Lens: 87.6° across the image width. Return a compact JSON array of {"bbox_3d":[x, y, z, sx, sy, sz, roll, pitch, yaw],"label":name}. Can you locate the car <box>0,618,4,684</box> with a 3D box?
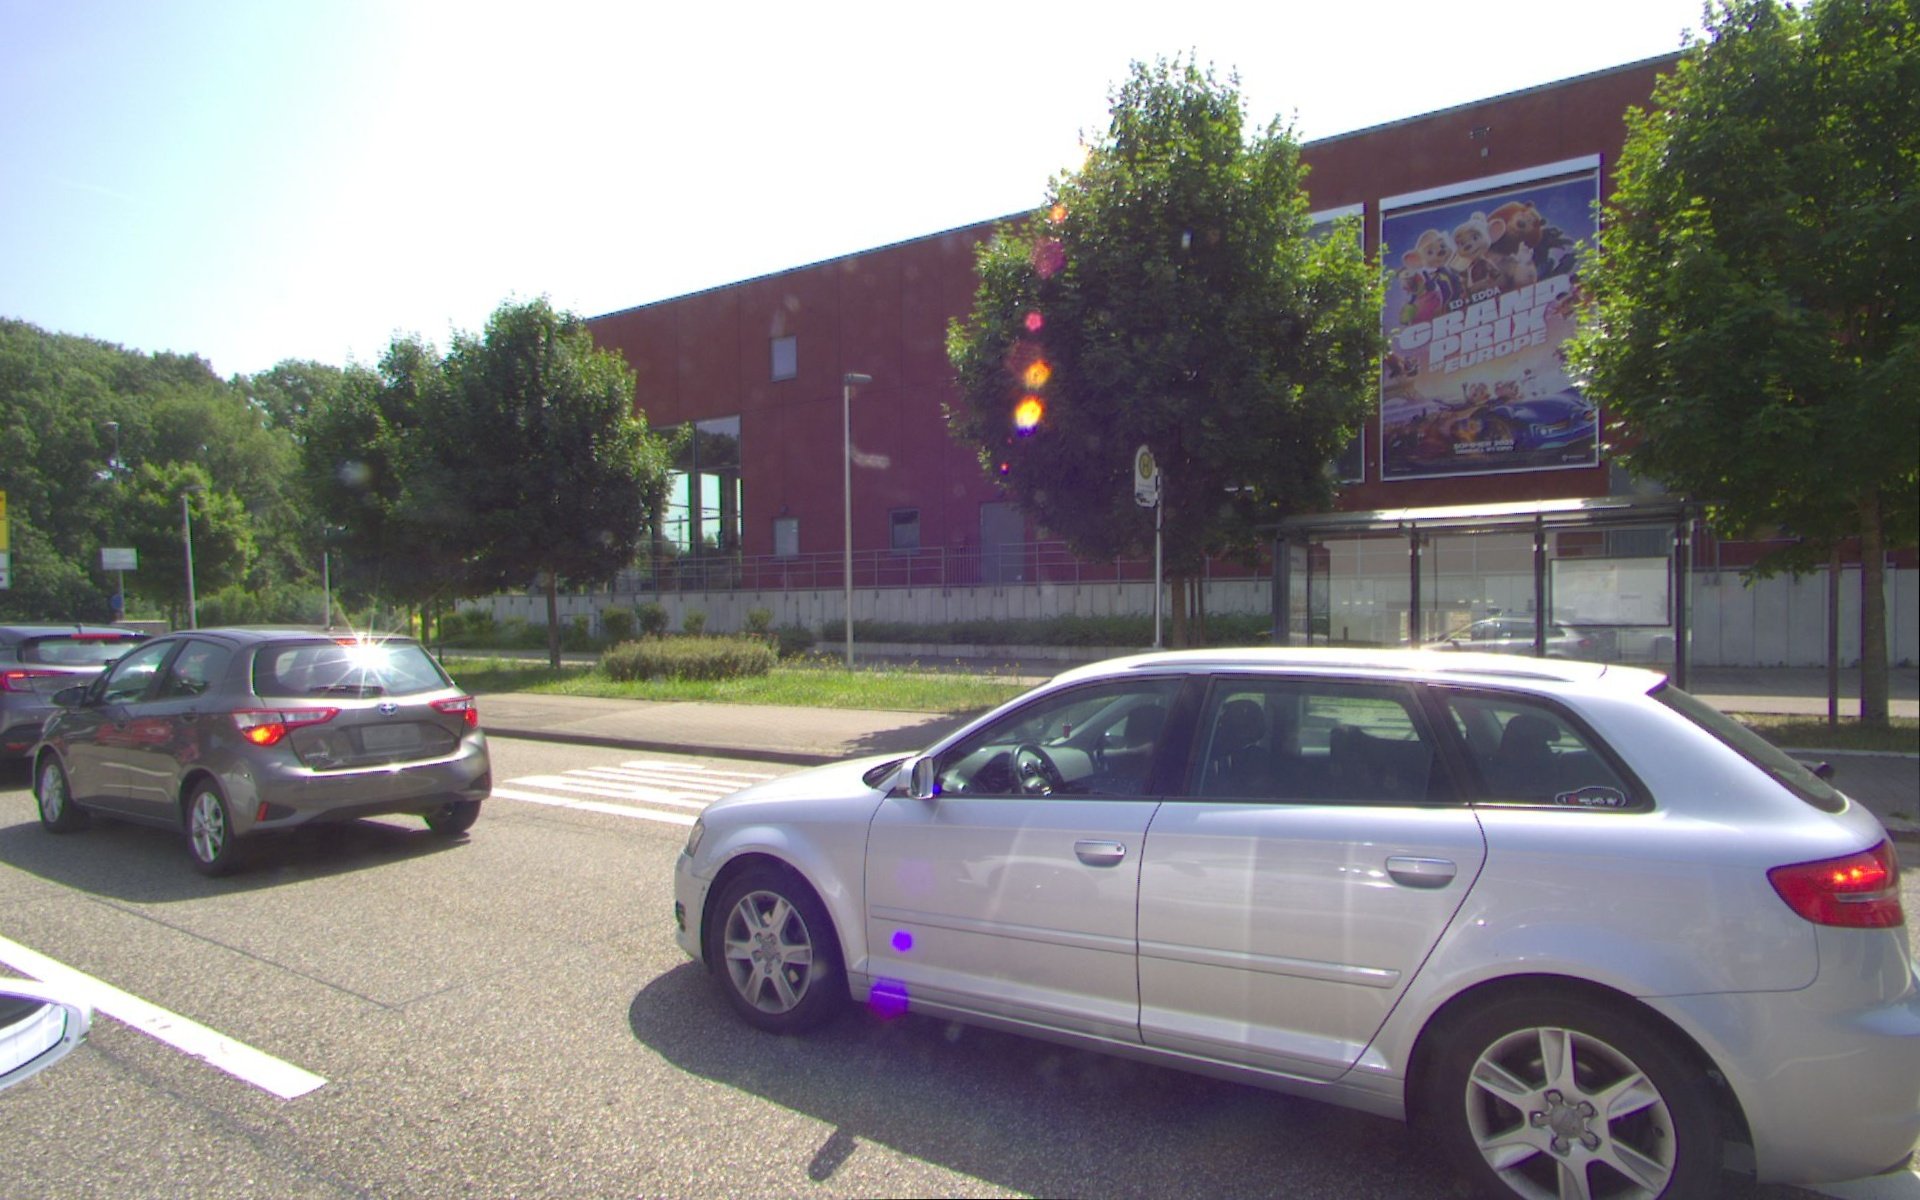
[{"bbox_3d":[-24.593,1.206,23.782,4.031,1.566,1.709,-1,-1,31],"label":"car"}]

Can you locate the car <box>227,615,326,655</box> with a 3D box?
[{"bbox_3d":[-37.239,1.854,54.620,1.972,2.040,3.978,0,0,32],"label":"car"}]

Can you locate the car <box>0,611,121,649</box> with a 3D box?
[{"bbox_3d":[-40.748,1.305,44.914,1.771,1.550,4.464,-1,0,30],"label":"car"}]

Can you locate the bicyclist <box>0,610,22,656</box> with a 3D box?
[{"bbox_3d":[-31.010,1.067,32.351,0.814,1.458,0.598,-1,0,-19],"label":"bicyclist"}]

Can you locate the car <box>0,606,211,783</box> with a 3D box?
[{"bbox_3d":[-10.061,0.900,10.858,4.031,1.614,1.709,-1,-1,31],"label":"car"}]

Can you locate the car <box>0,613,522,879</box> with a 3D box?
[{"bbox_3d":[-5.307,0.901,7.434,4.031,1.496,1.711,-1,-4,31],"label":"car"}]

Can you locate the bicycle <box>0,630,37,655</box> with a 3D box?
[{"bbox_3d":[-31.121,1.392,32.356,1.795,0.776,0.599,-1,1,-17],"label":"bicycle"}]

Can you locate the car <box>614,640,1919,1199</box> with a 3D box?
[{"bbox_3d":[0.775,0.856,3.733,4.031,1.379,1.710,-1,-2,31],"label":"car"}]
